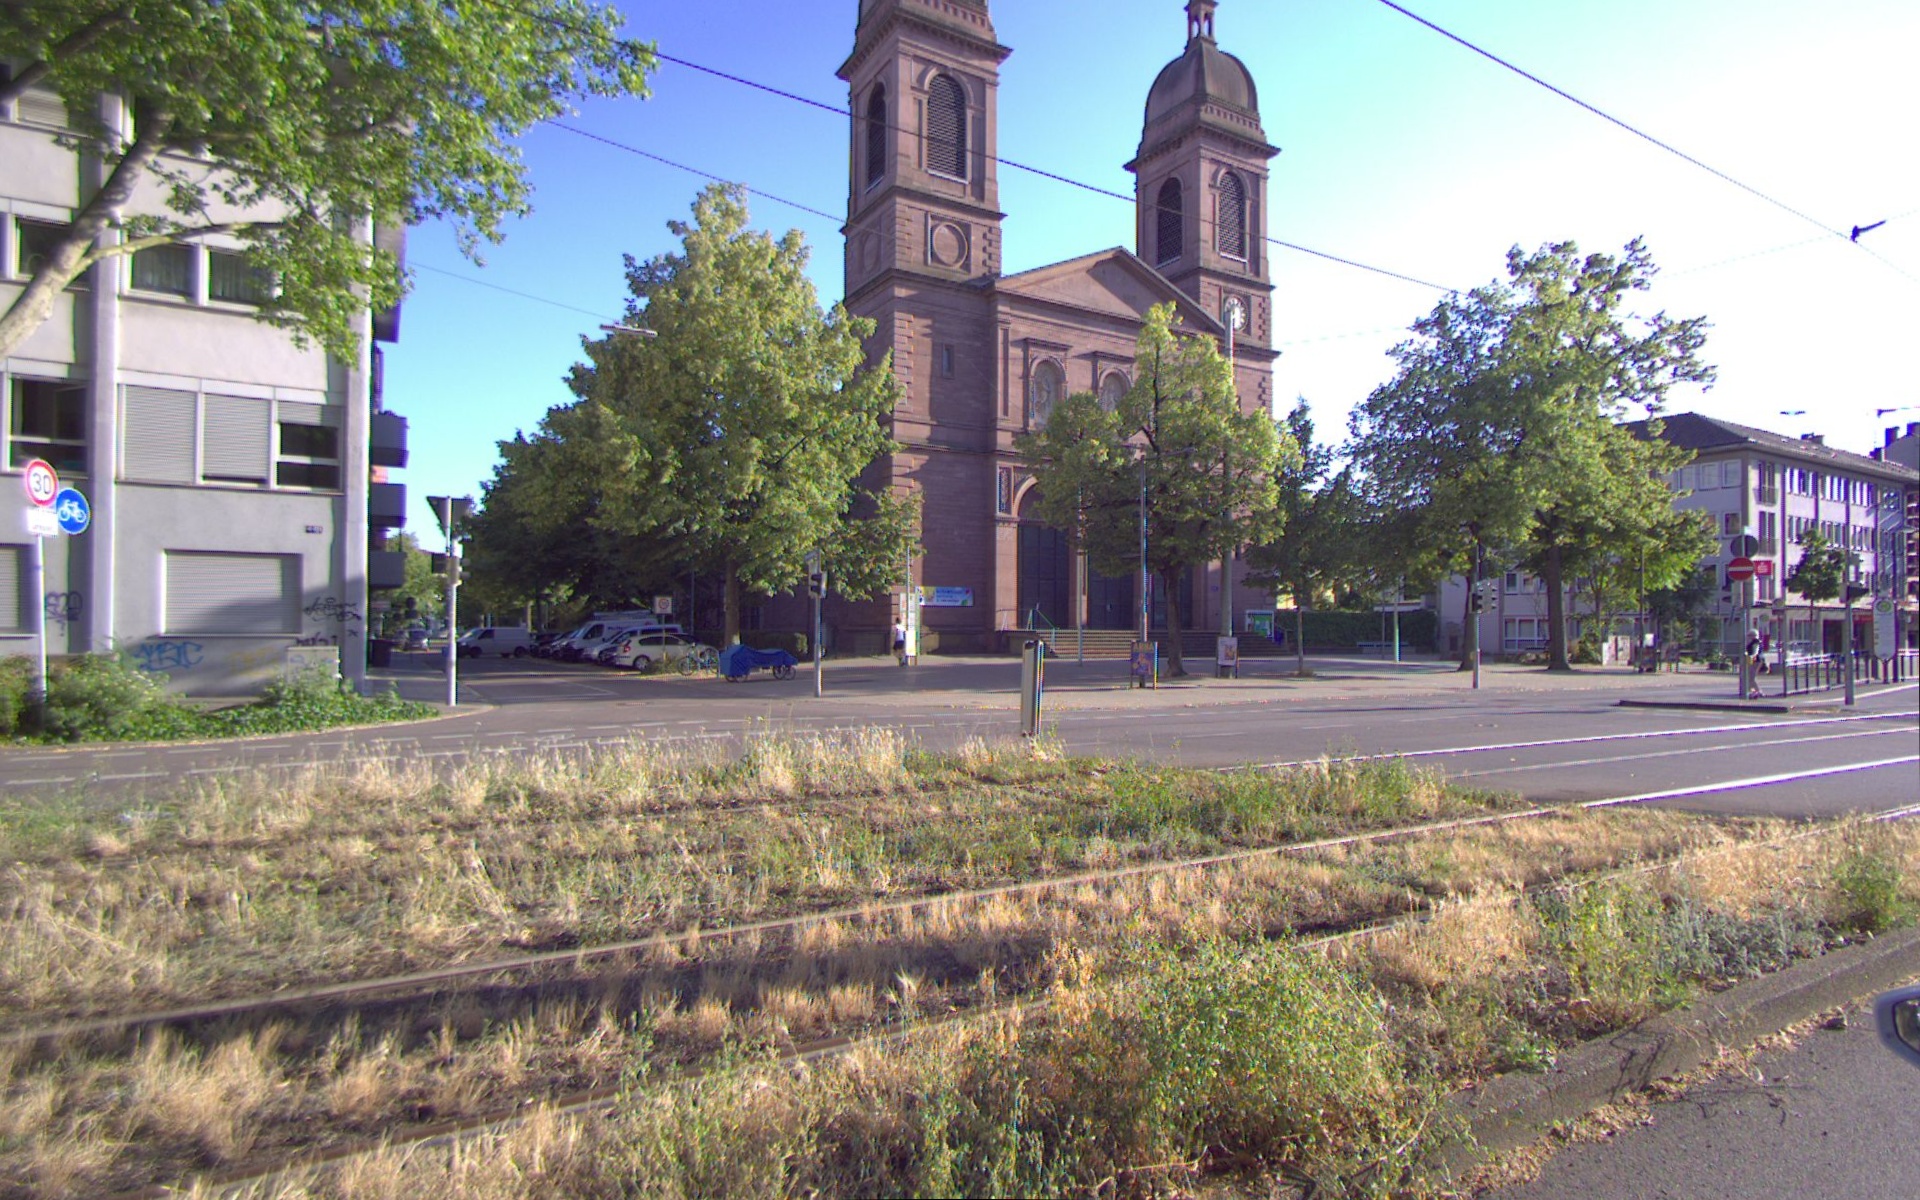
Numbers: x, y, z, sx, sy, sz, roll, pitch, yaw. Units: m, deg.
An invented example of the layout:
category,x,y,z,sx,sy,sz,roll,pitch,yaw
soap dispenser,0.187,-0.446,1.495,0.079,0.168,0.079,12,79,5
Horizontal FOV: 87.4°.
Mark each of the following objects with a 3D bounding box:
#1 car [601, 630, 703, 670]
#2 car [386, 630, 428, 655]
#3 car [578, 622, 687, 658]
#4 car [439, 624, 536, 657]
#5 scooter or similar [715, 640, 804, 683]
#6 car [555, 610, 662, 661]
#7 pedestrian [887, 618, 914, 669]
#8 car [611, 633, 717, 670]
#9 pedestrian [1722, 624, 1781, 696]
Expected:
category,x,y,z,sx,sy,sz,roll,pitch,yaw
car,-13.487,2.163,43.959,3.953,1.639,1.876,1,-2,-30
car,-46.978,3.548,85.291,1.985,2.040,5.360,2,-2,-41
car,-15.682,1.902,48.142,4.655,1.684,1.984,1,-2,-30
car,-30.502,2.571,65.007,1.968,2.040,5.406,-1,-2,36
scooter or similar,-6.119,1.850,30.705,2.419,1.141,1.088,-1,0,-30
car,-18.500,1.855,52.897,5.054,2.551,1.984,1,-2,-30
pedestrian,-2.129,1.543,35.871,0.684,1.789,0.733,1,-1,-31
car,-12.281,2.104,41.722,3.953,1.416,1.802,0,-1,-30
pedestrian,19.997,1.510,25.382,0.822,1.783,0.915,2,-2,-29
